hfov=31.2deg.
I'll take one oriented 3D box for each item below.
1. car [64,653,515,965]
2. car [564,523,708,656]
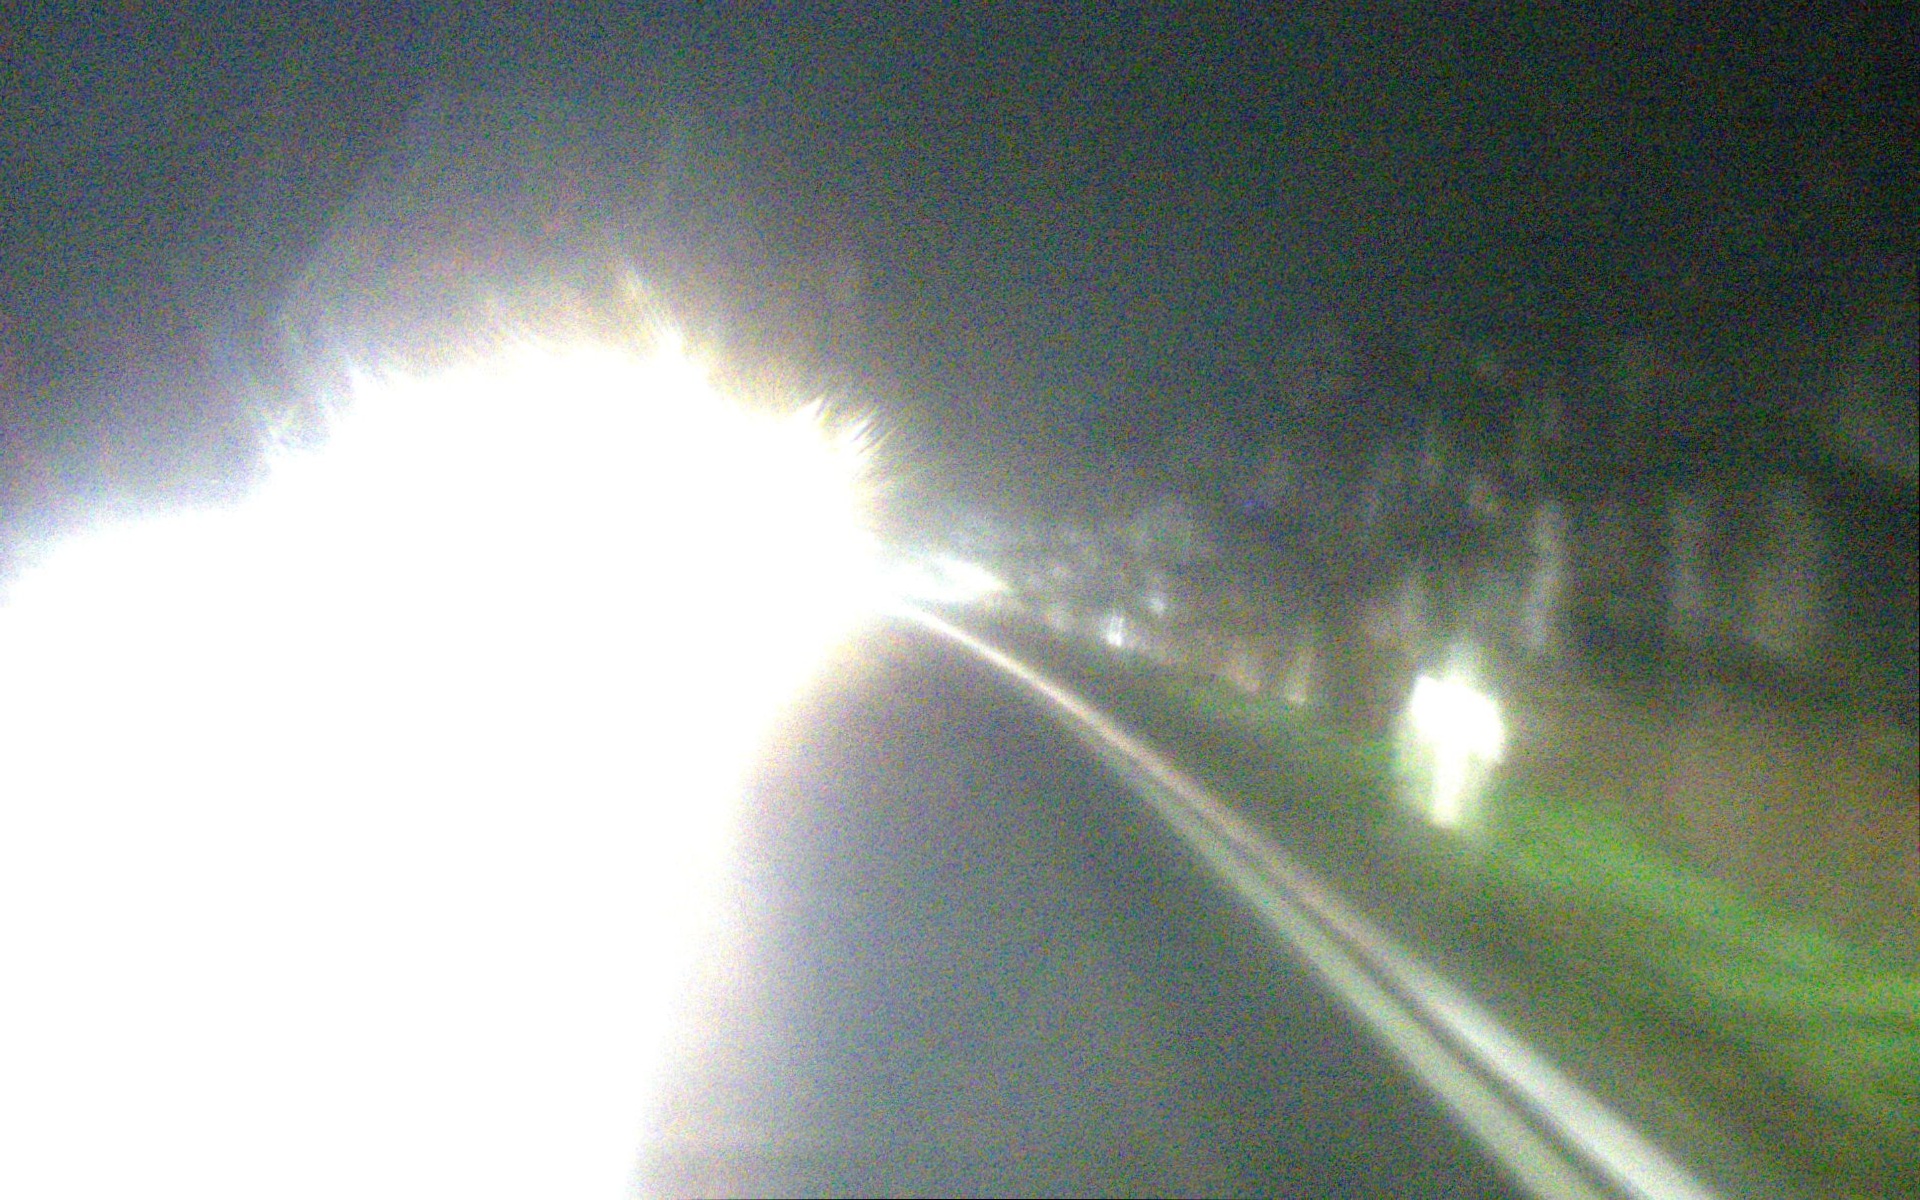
[{"bbox_3d":[-3.939,1.177,20.861,1.993,1.495,4.001,1,2,-1],"label":"car"},{"bbox_3d":[-5.199,-0.202,55.642,1.993,2.006,4.001,1,2,-1],"label":"car"}]
